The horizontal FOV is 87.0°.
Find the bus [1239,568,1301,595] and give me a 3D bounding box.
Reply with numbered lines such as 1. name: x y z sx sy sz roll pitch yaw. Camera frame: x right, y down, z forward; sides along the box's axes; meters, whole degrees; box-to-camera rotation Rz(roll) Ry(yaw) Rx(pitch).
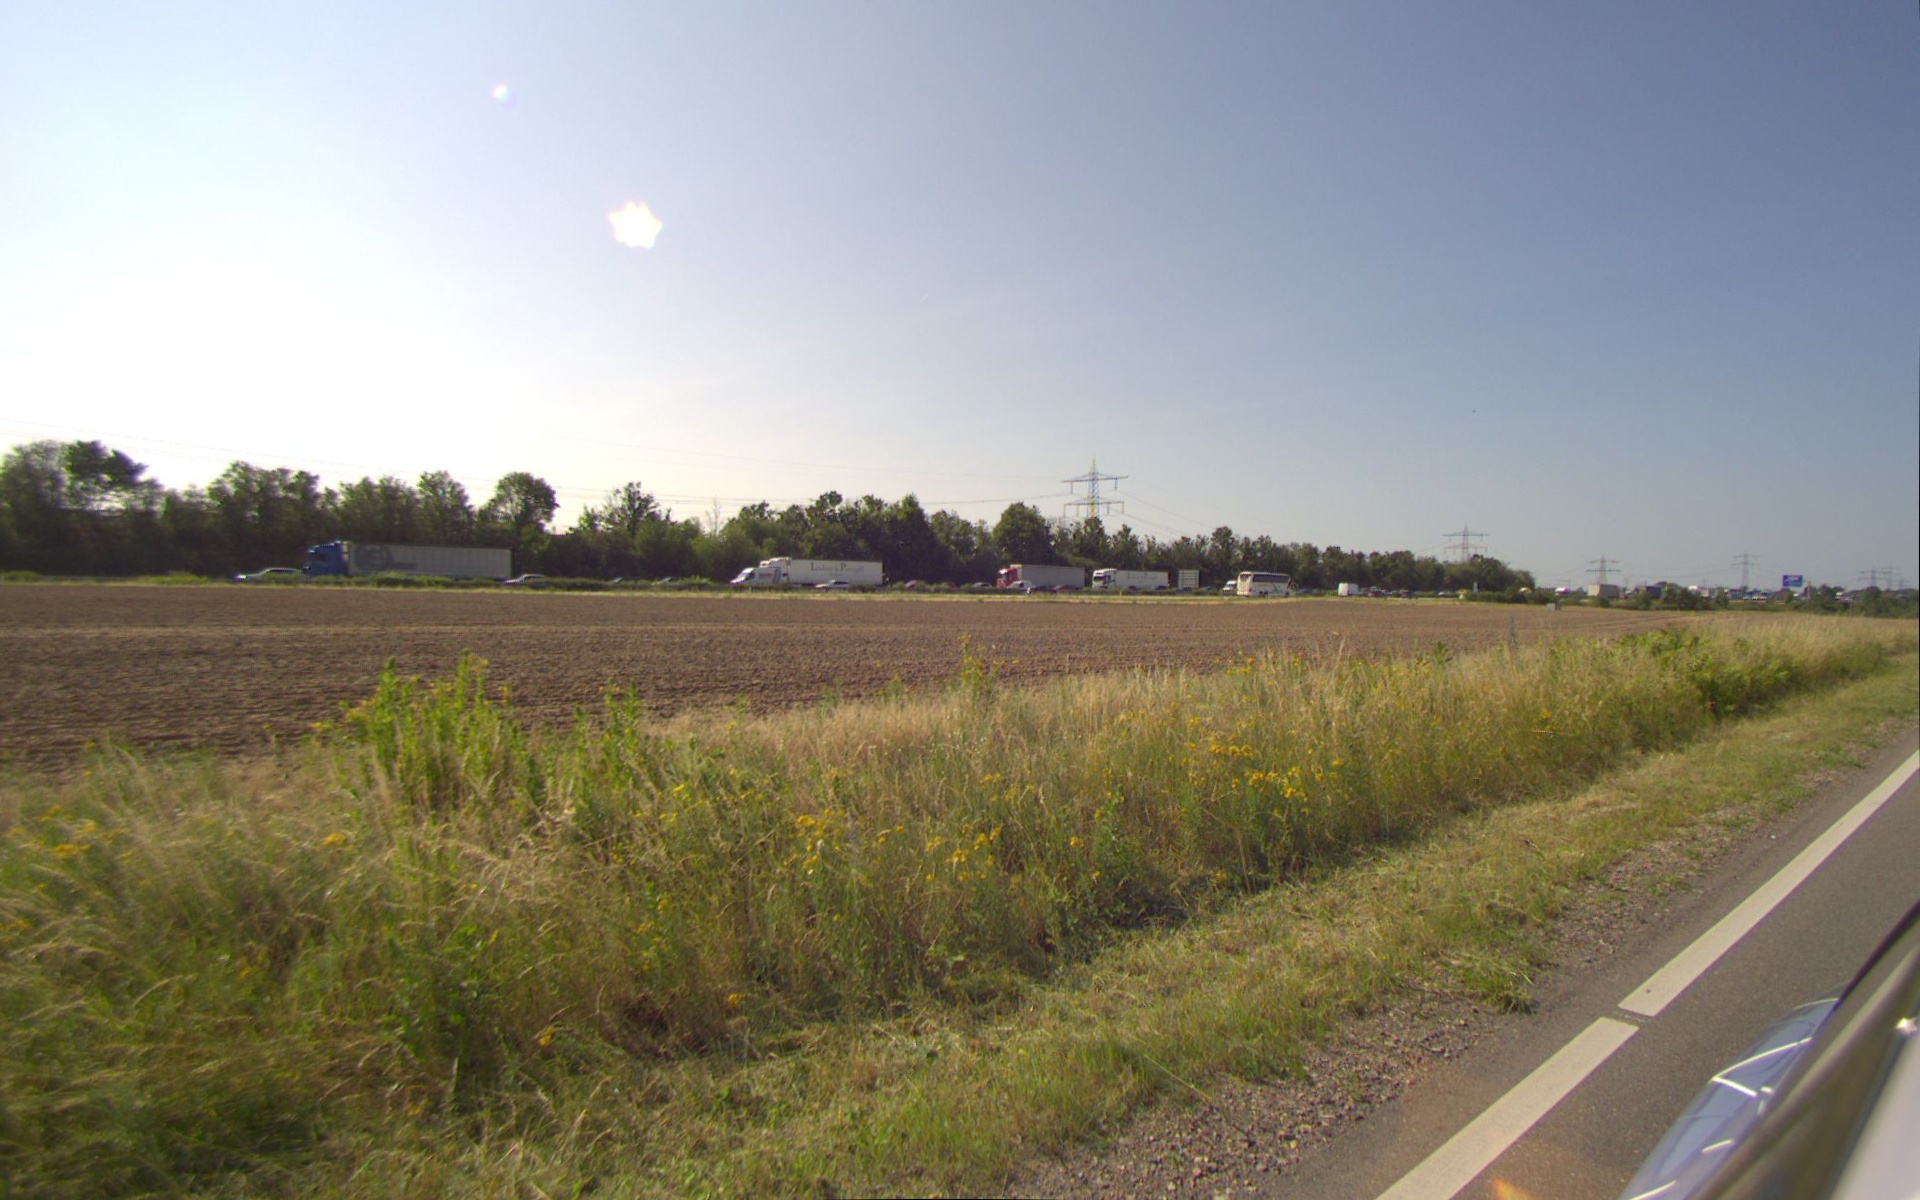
1. bus: 48.913 -2.831 159.338 14.299 3.851 2.466 1 0 -43

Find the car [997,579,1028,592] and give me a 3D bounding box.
1. car: 6.974 -1.963 133.670 4.024 1.659 1.705 0 0 -42

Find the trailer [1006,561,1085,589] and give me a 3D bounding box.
1. trailer: 12.534 -3.531 147.080 13.544 3.780 2.950 0 1 -42

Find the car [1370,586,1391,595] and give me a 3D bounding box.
1. car: 73.300 -1.639 176.484 4.136 1.492 1.705 0 0 -41

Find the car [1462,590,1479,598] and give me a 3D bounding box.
1. car: 101.295 -1.121 200.818 4.124 1.563 1.705 0 0 -42

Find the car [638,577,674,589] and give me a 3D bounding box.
1. car: -29.824 -1.666 99.379 3.126 1.166 1.396 1 -1 -42

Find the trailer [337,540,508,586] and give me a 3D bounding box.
1. trailer: -48.716 -3.268 92.196 13.389 3.780 3.078 0 1 -41

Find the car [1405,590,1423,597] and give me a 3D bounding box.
1. car: 86.977 -1.252 193.859 4.022 1.391 1.705 0 0 -41

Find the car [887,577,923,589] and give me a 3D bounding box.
1. car: -6.630 -2.016 122.341 4.174 1.403 1.853 1 -1 -42

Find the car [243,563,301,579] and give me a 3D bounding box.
1. car: -53.188 -2.229 78.257 3.519 1.166 1.397 1 -1 -41

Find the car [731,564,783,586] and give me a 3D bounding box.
1. car: -21.562 -2.638 107.724 5.147 2.228 1.907 1 -1 -42

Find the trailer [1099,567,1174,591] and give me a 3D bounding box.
1. trailer: 28.133 -3.281 160.758 14.825 3.575 3.207 0 2 -42

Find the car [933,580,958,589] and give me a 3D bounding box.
1. car: -1.871 -2.026 133.746 3.236 1.234 1.342 0 0 -43

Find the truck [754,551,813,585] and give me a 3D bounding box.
1. truck: -20.366 -3.703 117.216 6.010 3.780 3.077 0 1 -41

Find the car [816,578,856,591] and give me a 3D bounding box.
1. car: -14.156 -1.720 115.610 4.174 1.403 1.853 1 -1 -42

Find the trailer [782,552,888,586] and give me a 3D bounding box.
1. trailer: -14.897 -3.702 121.999 13.131 3.780 3.077 0 1 -41

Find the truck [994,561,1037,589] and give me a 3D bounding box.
1. truck: 7.869 -3.541 142.870 5.768 3.780 2.950 0 0 -42

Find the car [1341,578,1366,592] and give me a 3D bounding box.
1. car: 69.599 -2.606 178.931 5.426 2.402 1.996 0 -1 -42

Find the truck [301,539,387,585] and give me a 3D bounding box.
1. truck: -53.562 -3.263 88.051 5.979 3.780 3.078 0 1 -40

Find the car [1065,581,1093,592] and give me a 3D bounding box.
1. car: 16.787 -1.899 142.321 4.023 1.528 1.705 0 0 -42

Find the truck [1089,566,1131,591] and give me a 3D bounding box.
1. truck: 23.173 -3.292 156.257 6.004 3.575 3.208 0 2 -42

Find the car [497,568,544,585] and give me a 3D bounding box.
1. car: -39.458 -2.068 90.924 3.541 1.403 1.493 1 -1 -42
